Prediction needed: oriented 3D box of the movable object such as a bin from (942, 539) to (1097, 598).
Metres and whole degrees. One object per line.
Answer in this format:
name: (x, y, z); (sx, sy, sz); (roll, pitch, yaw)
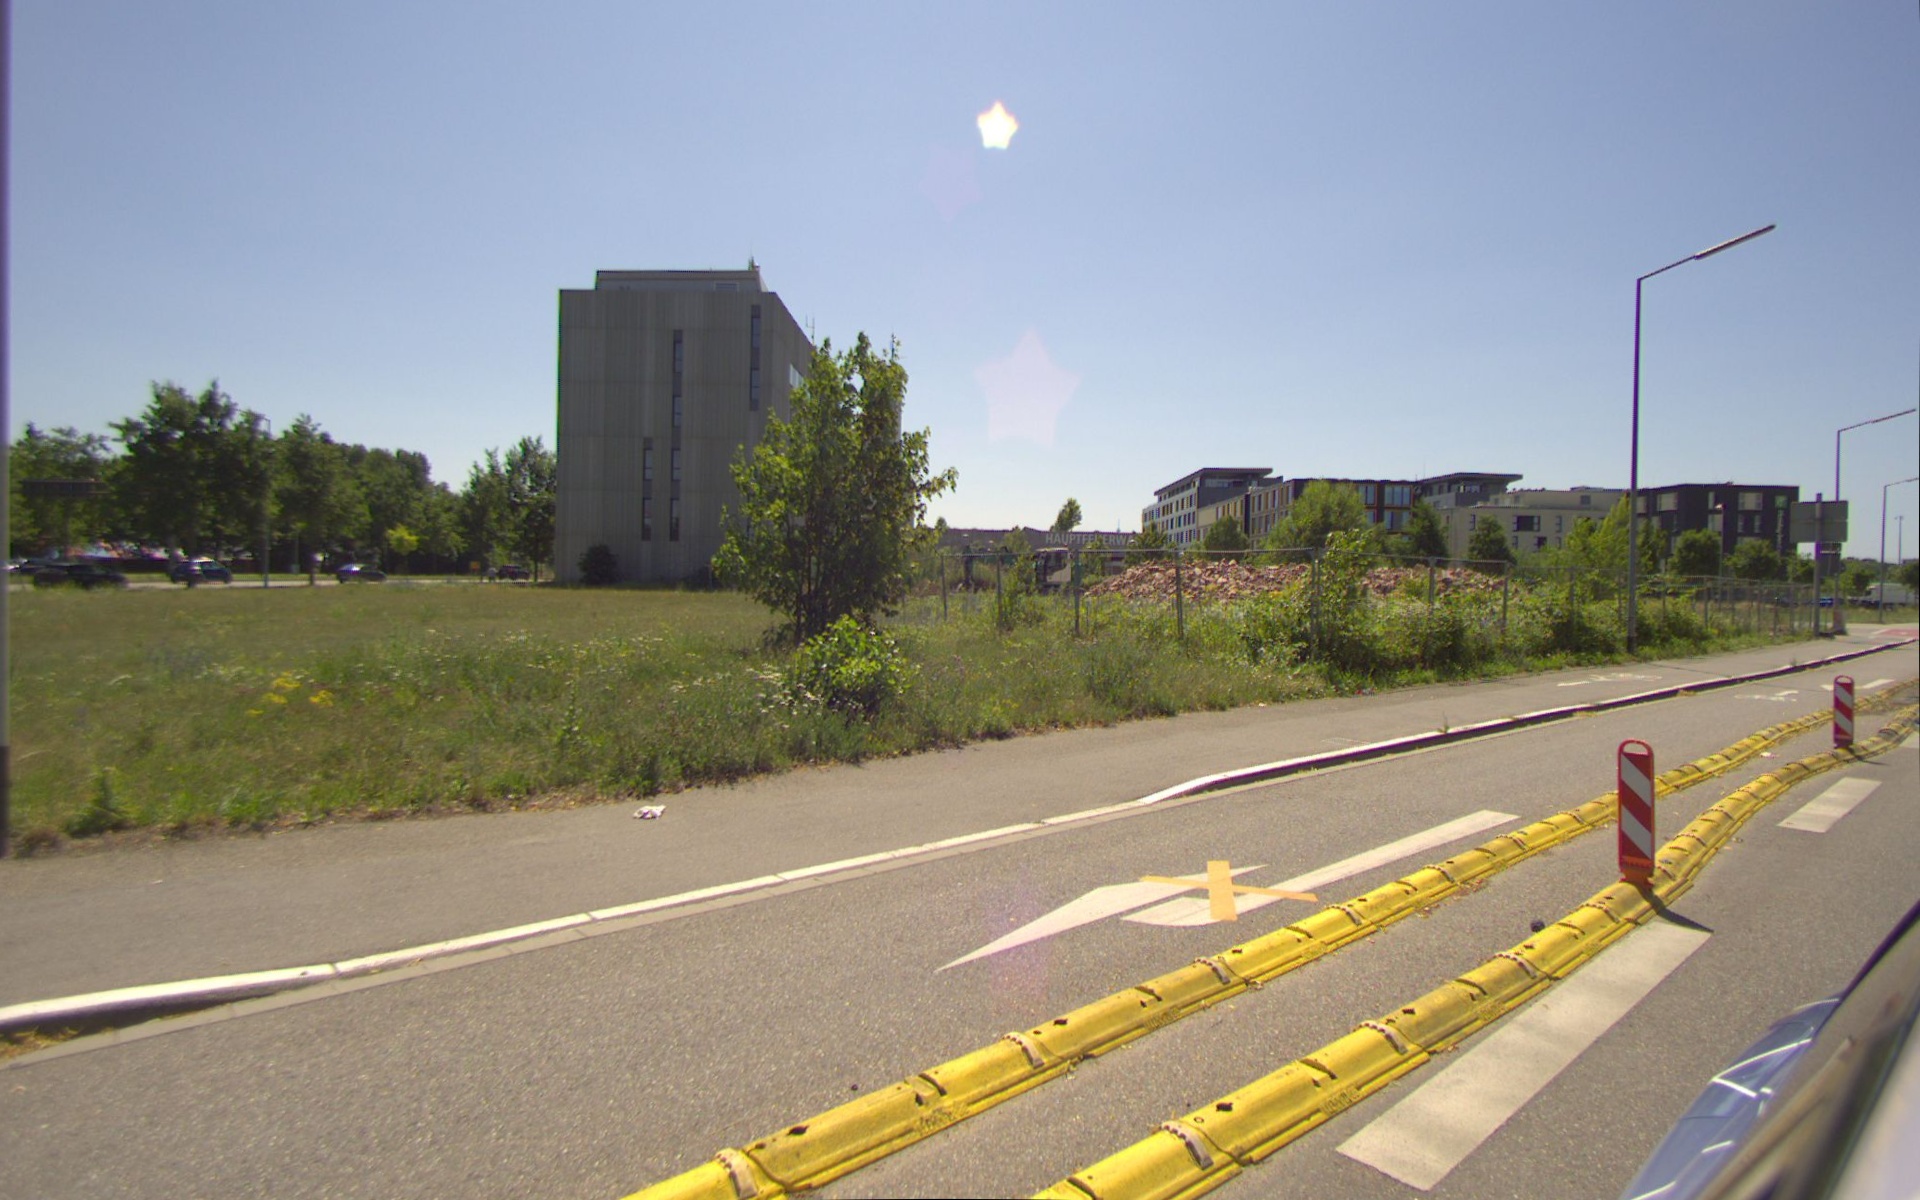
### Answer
movable object such as a bin: (3.134, -1.607, 53.313); (7.537, 2.952, 3.242); (-1, 0, -26)

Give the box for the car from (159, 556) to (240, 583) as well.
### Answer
car: (-48.391, -1.916, 64.513); (1.961, 1.615, 4.422); (2, 1, -3)

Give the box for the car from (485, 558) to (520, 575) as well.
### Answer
car: (-48.600, -3.560, 107.660); (1.960, 1.615, 4.423); (2, 1, -4)

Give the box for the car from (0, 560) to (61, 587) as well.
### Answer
car: (-59.350, -1.625, 63.587); (1.814, 1.612, 4.443); (0, 0, 1)

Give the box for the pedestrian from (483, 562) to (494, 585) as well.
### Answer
pedestrian: (-33.612, -1.901, 72.165); (0.652, 1.611, 0.557); (0, 0, -15)

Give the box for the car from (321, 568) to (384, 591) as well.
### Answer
car: (-45.257, -1.518, 75.541); (1.963, 1.615, 4.418); (2, 1, 1)

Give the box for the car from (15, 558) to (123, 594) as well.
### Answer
car: (-42.799, -1.100, 48.742); (1.694, 1.571, 4.002); (3, 0, -2)
